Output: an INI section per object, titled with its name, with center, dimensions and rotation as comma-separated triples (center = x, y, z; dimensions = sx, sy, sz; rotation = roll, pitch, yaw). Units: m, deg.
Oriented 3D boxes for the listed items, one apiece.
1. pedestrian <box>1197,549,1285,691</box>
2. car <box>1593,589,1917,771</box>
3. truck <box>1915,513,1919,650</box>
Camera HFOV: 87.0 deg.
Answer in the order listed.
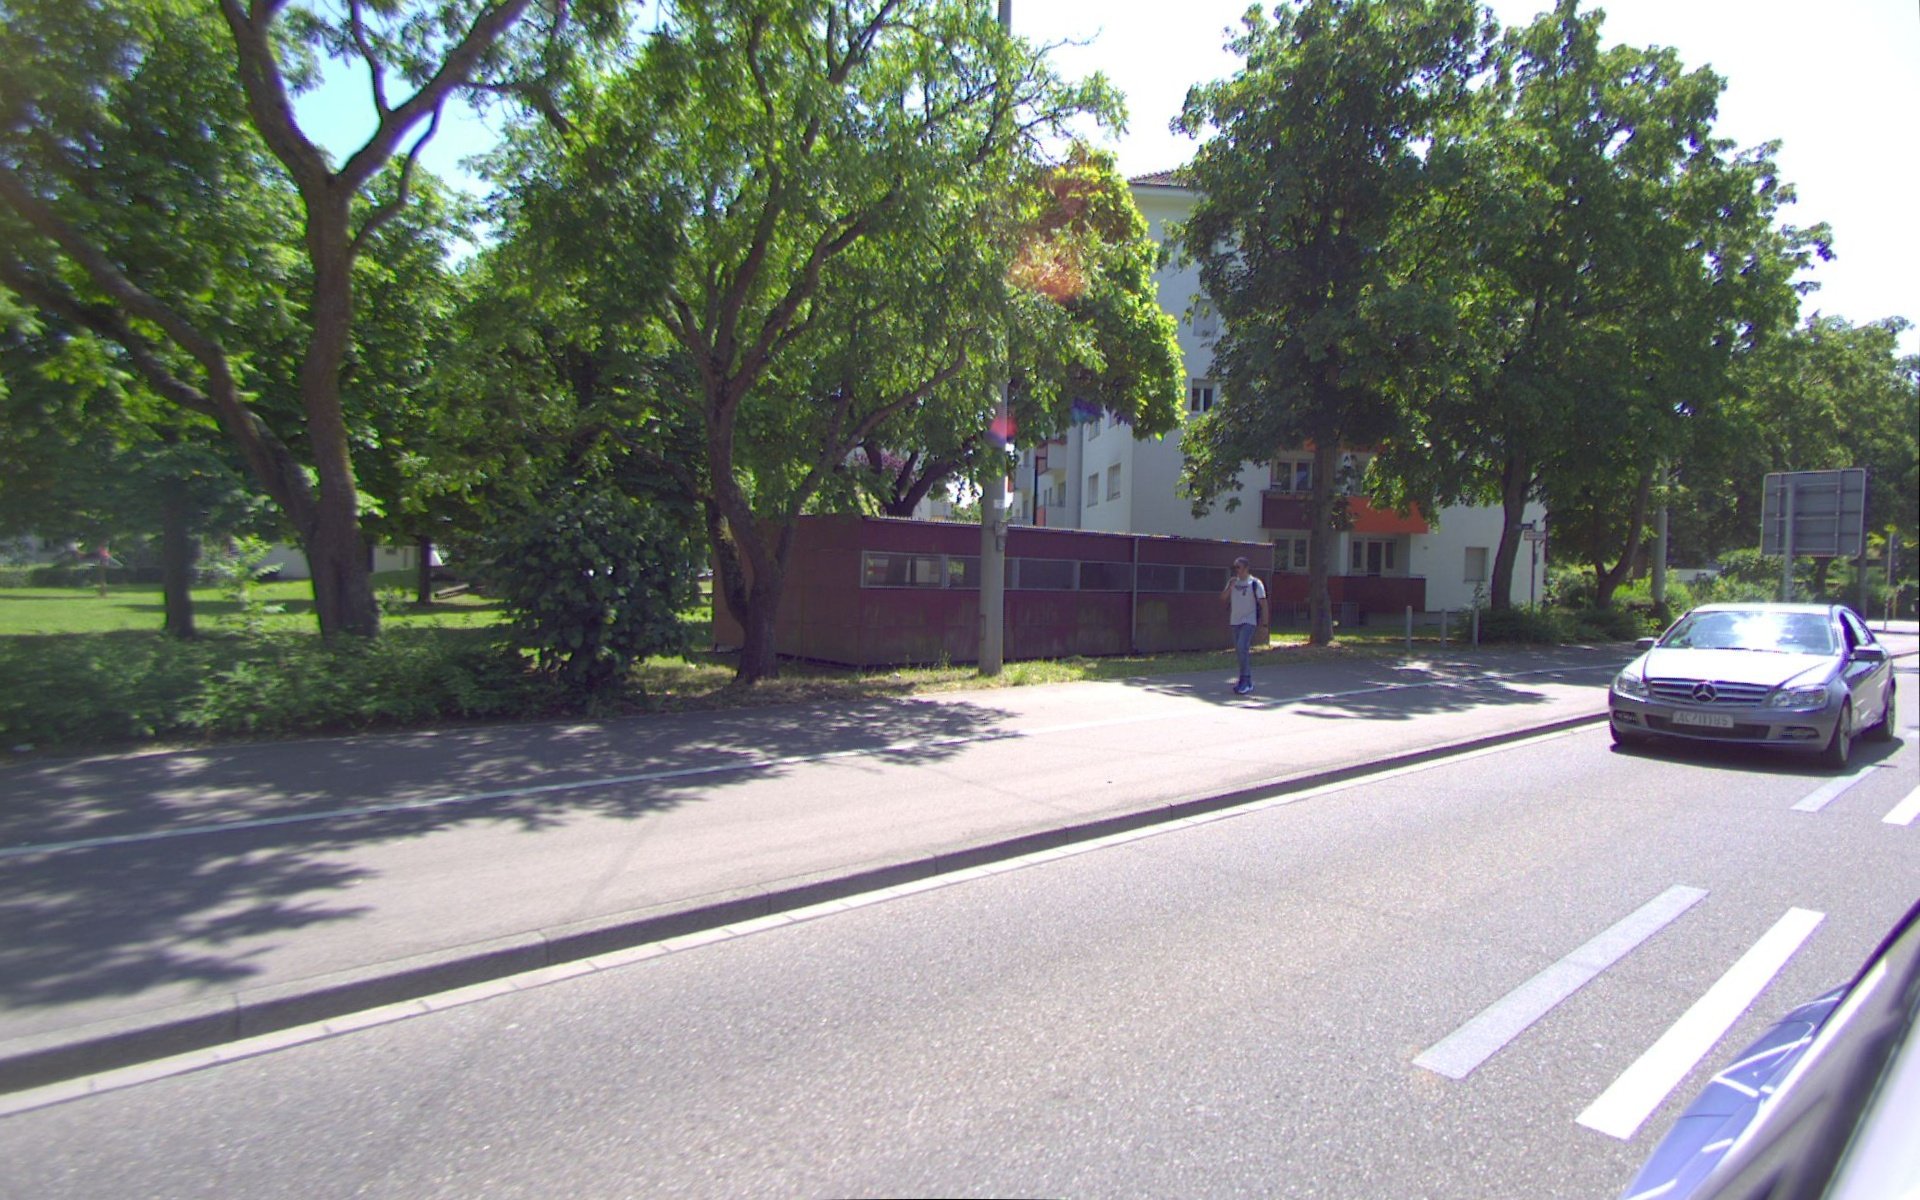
[pedestrian]
center = 3.453, 0.223, 12.419
dimensions = 0.841, 1.664, 0.670
rotation = 0, 1, -41
[car]
center = 8.157, 0.655, 10.266
dimensions = 3.901, 1.478, 1.902
rotation = 1, 0, -41
[truck]
center = 27.134, -0.433, 26.181
dimensions = 8.160, 3.319, 2.295
rotation = 0, 1, -38
